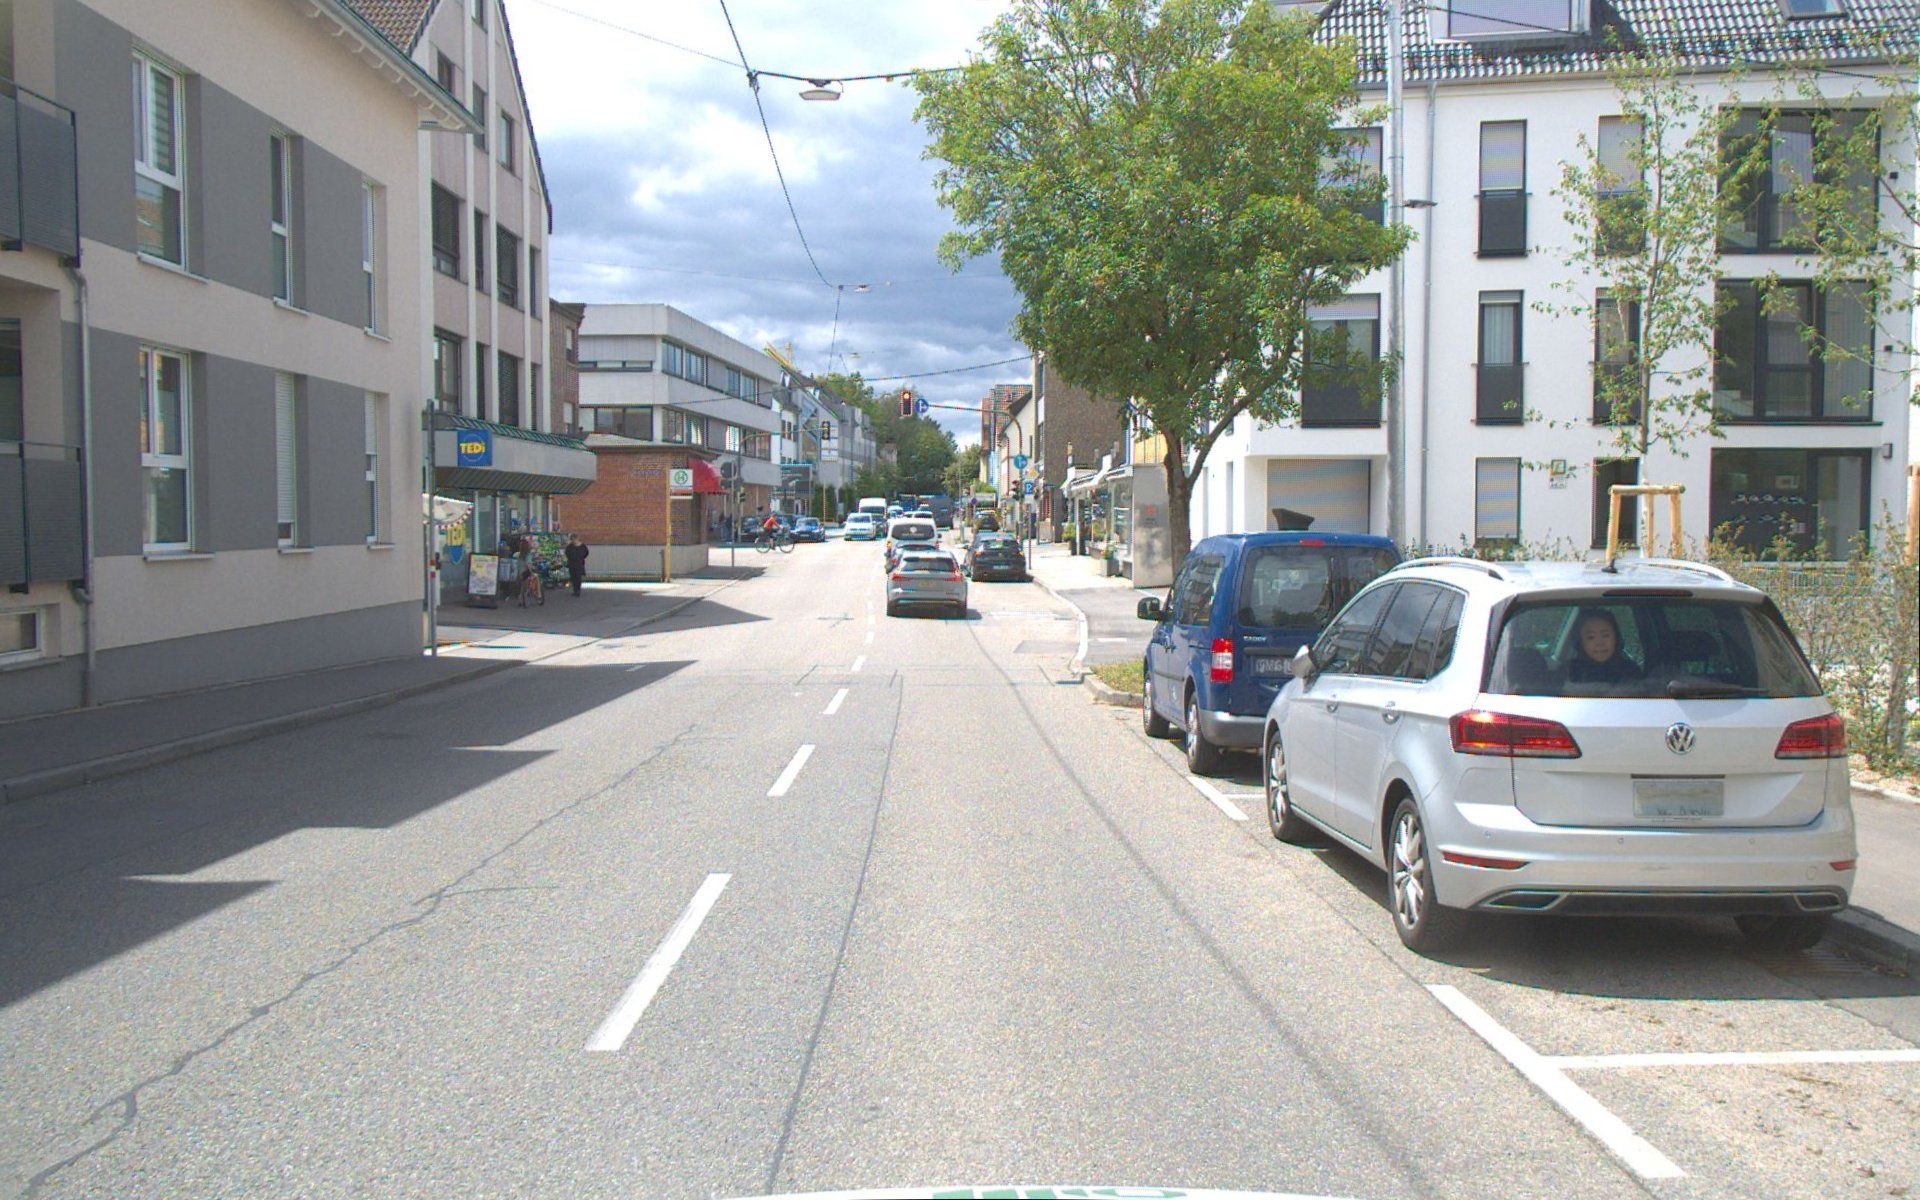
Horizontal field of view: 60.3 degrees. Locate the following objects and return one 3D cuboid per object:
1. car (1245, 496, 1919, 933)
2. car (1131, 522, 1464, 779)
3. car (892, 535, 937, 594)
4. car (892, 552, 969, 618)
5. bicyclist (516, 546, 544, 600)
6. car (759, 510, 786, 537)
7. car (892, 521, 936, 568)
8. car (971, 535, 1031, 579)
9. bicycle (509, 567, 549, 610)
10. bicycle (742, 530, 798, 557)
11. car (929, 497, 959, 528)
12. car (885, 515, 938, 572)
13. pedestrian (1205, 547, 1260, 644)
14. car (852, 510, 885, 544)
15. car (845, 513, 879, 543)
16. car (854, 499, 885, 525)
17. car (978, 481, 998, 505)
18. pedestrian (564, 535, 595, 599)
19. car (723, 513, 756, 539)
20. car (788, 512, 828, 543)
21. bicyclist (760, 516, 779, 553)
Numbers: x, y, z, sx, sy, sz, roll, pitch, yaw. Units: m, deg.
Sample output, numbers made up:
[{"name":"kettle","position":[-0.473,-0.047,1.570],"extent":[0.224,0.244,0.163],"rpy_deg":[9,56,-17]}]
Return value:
[{"name":"car","position":[2.671,0.377,8.030],"extent":[1.750,1.535,4.364],"rpy_deg":[0,1,-1]},{"name":"car","position":[2.614,0.327,13.910],"extent":[1.807,1.798,4.514],"rpy_deg":[0,1,-1]},{"name":"car","position":[-1.314,-1.053,48.136],"extent":[1.248,1.553,3.051],"rpy_deg":[0,4,-2]},{"name":"car","position":[-0.685,-0.370,38.477],"extent":[1.708,1.441,4.000],"rpy_deg":[0,1,-1]},{"name":"bicyclist","position":[-9.760,-0.616,37.549],"extent":[0.448,1.199,0.625],"rpy_deg":[0,1,-1]},{"name":"car","position":[-11.566,-4.689,102.065],"extent":[1.356,1.567,3.398],"rpy_deg":[0,1,-1]},{"name":"car","position":[-1.914,-2.317,69.499],"extent":[1.799,1.894,3.850],"rpy_deg":[1,1,-1]},{"name":"car","position":[1.303,-1.443,54.447],"extent":[1.718,1.394,3.999],"rpy_deg":[0,2,-2]},{"name":"bicycle","position":[-9.749,-0.269,37.425],"extent":[0.457,0.876,1.777],"rpy_deg":[1,3,-1]},{"name":"bicycle","position":[-8.561,-2.536,74.563],"extent":[2.471,1.194,0.586],"rpy_deg":[-1,1,3]},{"name":"car","position":[-1.390,-7.277,138.247],"extent":[2.387,2.358,5.326],"rpy_deg":[1,2,-1]},{"name":"car","position":[-1.677,-1.959,57.976],"extent":[1.799,1.894,3.850],"rpy_deg":[1,1,-1]},{"name":"pedestrian","position":[4.819,-0.089,29.264],"extent":[0.730,1.676,0.609],"rpy_deg":[-2,1,-34]},{"name":"car","position":[-5.938,-4.748,107.404],"extent":[1.953,2.048,4.000],"rpy_deg":[1,1,-1]},{"name":"car","position":[-5.977,-4.384,101.259],"extent":[1.835,1.668,4.000],"rpy_deg":[1,1,-1]},{"name":"car","position":[-6.309,-6.118,115.186],"extent":[1.834,1.668,4.001],"rpy_deg":[0,1,1]},{"name":"car","position":[2.548,-9.813,152.105],"extent":[1.765,2.049,3.999],"rpy_deg":[0,1,-1]},{"name":"pedestrian","position":[-9.759,-0.854,42.399],"extent":[0.614,1.630,0.563],"rpy_deg":[1,1,6]},{"name":"car","position":[-12.864,-4.321,96.732],"extent":[1.520,1.400,3.398],"rpy_deg":[0,1,-1]},{"name":"car","position":[-8.952,-4.259,97.489],"extent":[1.834,1.668,4.001],"rpy_deg":[1,1,1]},{"name":"bicyclist","position":[-8.573,-2.960,74.562],"extent":[0.756,1.634,0.581],"rpy_deg":[0,1,3]}]
